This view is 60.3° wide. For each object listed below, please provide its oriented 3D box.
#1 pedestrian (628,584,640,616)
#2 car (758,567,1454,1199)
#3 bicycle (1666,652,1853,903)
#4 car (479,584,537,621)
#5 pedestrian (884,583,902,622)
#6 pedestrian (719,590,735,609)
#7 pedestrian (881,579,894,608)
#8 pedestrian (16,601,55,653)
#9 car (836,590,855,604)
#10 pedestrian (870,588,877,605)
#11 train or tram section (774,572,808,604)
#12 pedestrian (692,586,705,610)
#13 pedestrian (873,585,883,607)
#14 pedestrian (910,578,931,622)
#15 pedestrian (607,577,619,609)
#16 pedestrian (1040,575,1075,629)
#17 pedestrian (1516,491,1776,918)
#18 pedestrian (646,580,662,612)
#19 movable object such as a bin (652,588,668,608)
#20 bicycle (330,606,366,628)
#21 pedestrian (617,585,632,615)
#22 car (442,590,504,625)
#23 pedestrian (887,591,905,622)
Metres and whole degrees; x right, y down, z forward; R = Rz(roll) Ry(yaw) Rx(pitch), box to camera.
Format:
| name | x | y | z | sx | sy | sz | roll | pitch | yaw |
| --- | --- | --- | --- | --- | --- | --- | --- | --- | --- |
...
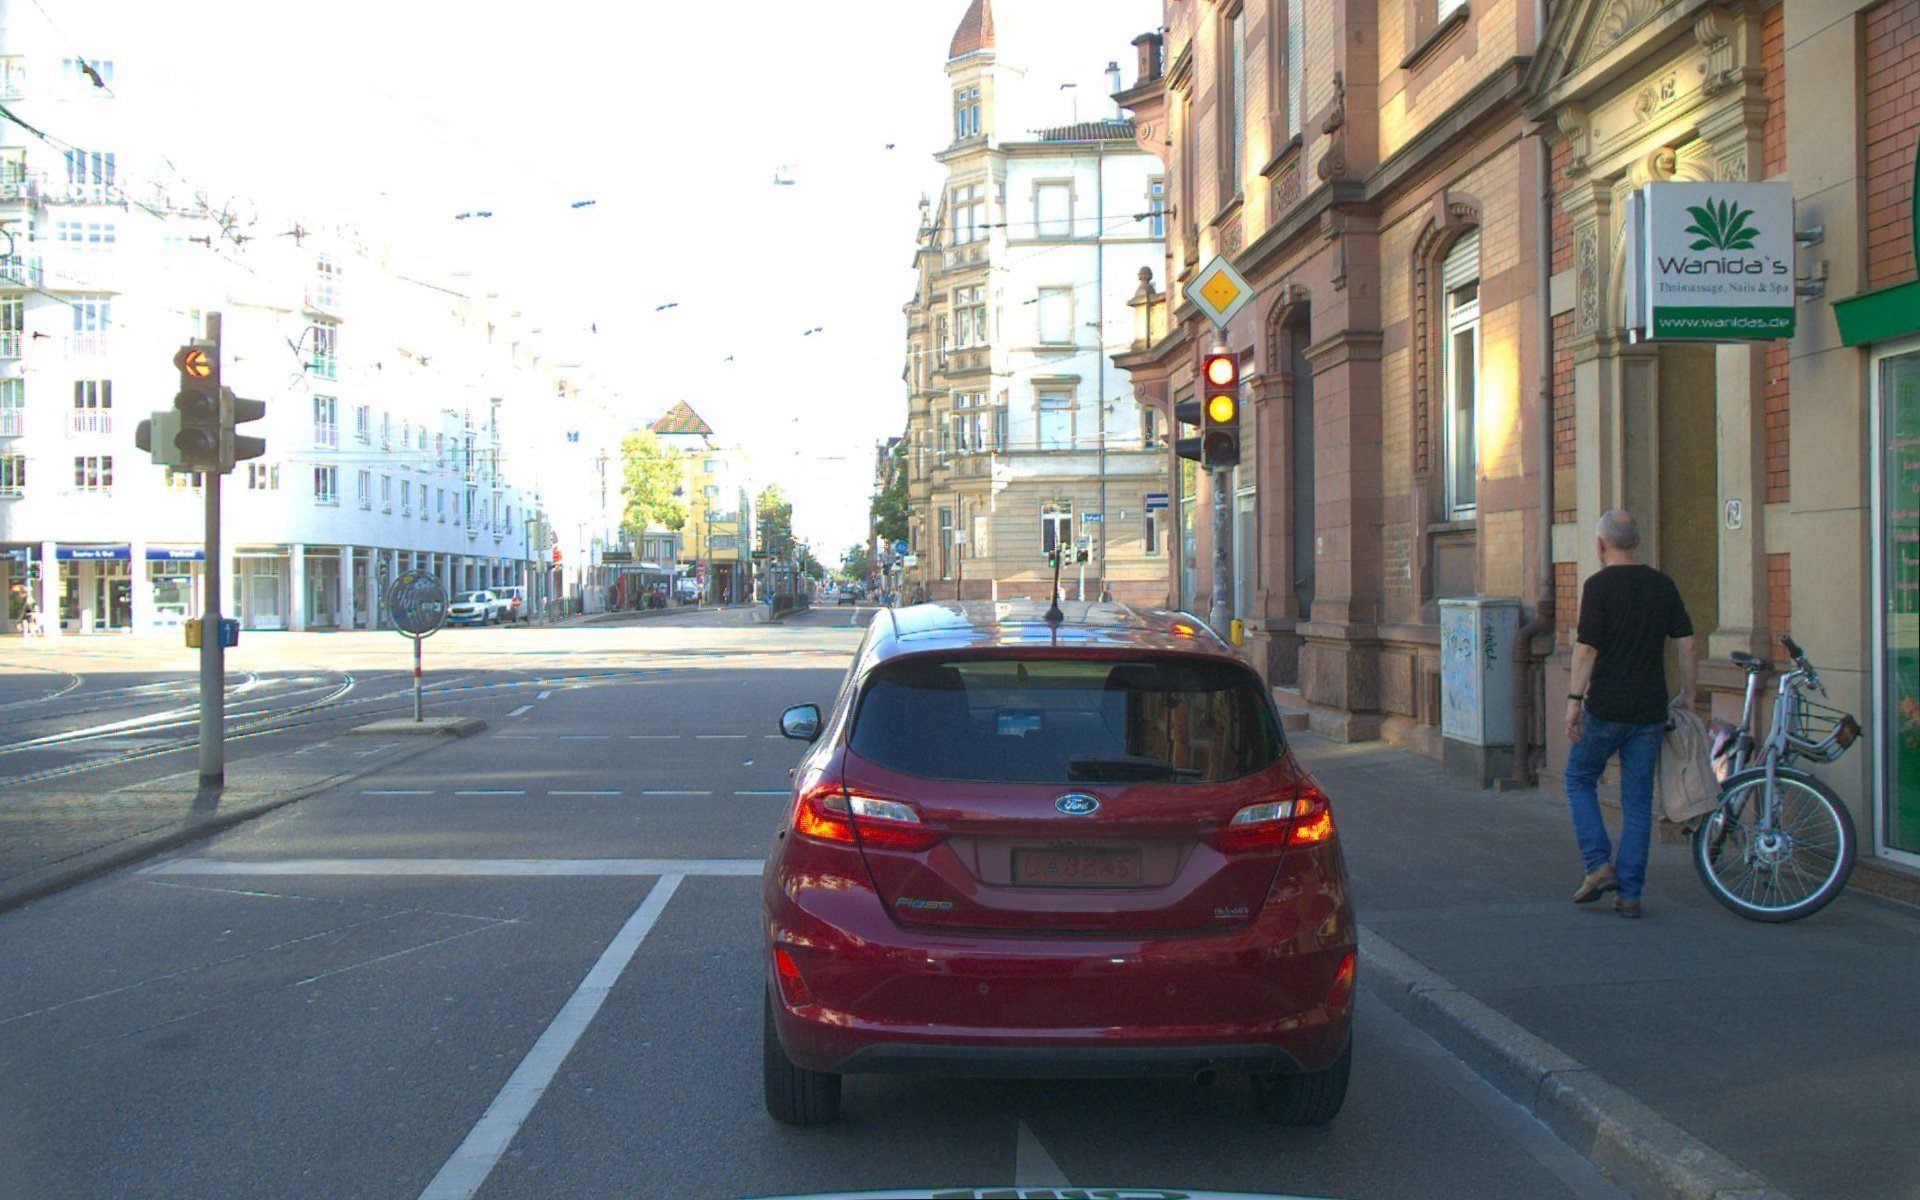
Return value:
| name | x | y | z | sx | sy | sz | roll | pitch | yaw |
| --- | --- | --- | --- | --- | --- | --- | --- | --- | --- |
| pedestrian | -19.745 | 0.022 | 100.185 | 0.682 | 1.938 | 0.671 | 0 | 0 | -7 |
| car | 0.319 | 0.682 | 5.777 | 1.658 | 1.521 | 3.579 | 1 | 0 | -1 |
| bicycle | 3.680 | 0.780 | 7.687 | 0.337 | 1.013 | 1.241 | -2 | 0 | 5 |
| car | -23.970 | 0.107 | 87.811 | 1.954 | 1.869 | 5.342 | -1 | 0 | -4 |
| pedestrian | -3.069 | 0.106 | 75.983 | 0.703 | 1.751 | 0.795 | -2 | -1 | -6 |
| pedestrian | -23.514 | -0.059 | 167.208 | 1.324 | 1.938 | 1.465 | 0 | 0 | -20 |
| pedestrian | -4.674 | -0.447 | 107.190 | 0.700 | 1.805 | 0.772 | -3 | 1 | -7 |
| pedestrian | -31.315 | 0.920 | 56.041 | 0.850 | 1.711 | 0.697 | -1 | 2 | 4 |
| car | -12.083 | -0.356 | 174.023 | 1.954 | 1.475 | 3.997 | 0 | 0 | -4 |
| pedestrian | -8.997 | -0.374 | 172.036 | 0.735 | 1.690 | 0.650 | 1 | -1 | -1 |
| train or tram section | -19.329 | -1.348 | 189.849 | 2.827 | 3.551 | 14.161 | 1 | 0 | -2 |
| pedestrian | -20.572 | -0.163 | 130.136 | 0.865 | 1.938 | 0.929 | 0 | 0 | -20 |
| pedestrian | -7.003 | -0.347 | 140.696 | 0.700 | 1.805 | 0.772 | -3 | 1 | -7 |
| pedestrian | -1.712 | -0.015 | 70.825 | 0.785 | 1.855 | 0.797 | -2 | 1 | -4 |
| pedestrian | -18.909 | -0.372 | 90.139 | 0.587 | 1.721 | 0.613 | 0 | 0 | -4 |
| pedestrian | 3.345 | 0.059 | 56.973 | 1.003 | 1.838 | 1.081 | -1 | 0 | -7 |
| pedestrian | 2.995 | 0.429 | 7.285 | 0.760 | 1.753 | 0.754 | -2 | 0 | -4 |
| pedestrian | -18.927 | -0.251 | 102.383 | 0.914 | 1.938 | 0.880 | 0 | 0 | -7 |
| movable object such as a bin | -19.734 | -0.151 | 108.886 | 0.919 | 1.309 | 0.933 | 0 | 0 | -6 |
| bicycle | -27.250 | 0.744 | 73.663 | 0.824 | 0.943 | 2.263 | -1 | 1 | -3 |
| pedestrian | -19.538 | 0.010 | 96.288 | 0.687 | 1.721 | 0.666 | 0 | 0 | -28 |
| car | -23.533 | 0.332 | 80.098 | 1.954 | 1.648 | 4.506 | -1 | 0 | -4 |
| pedestrian | -2.913 | 0.288 | 75.004 | 0.703 | 1.354 | 0.795 | -2 | -1 | -6 |
